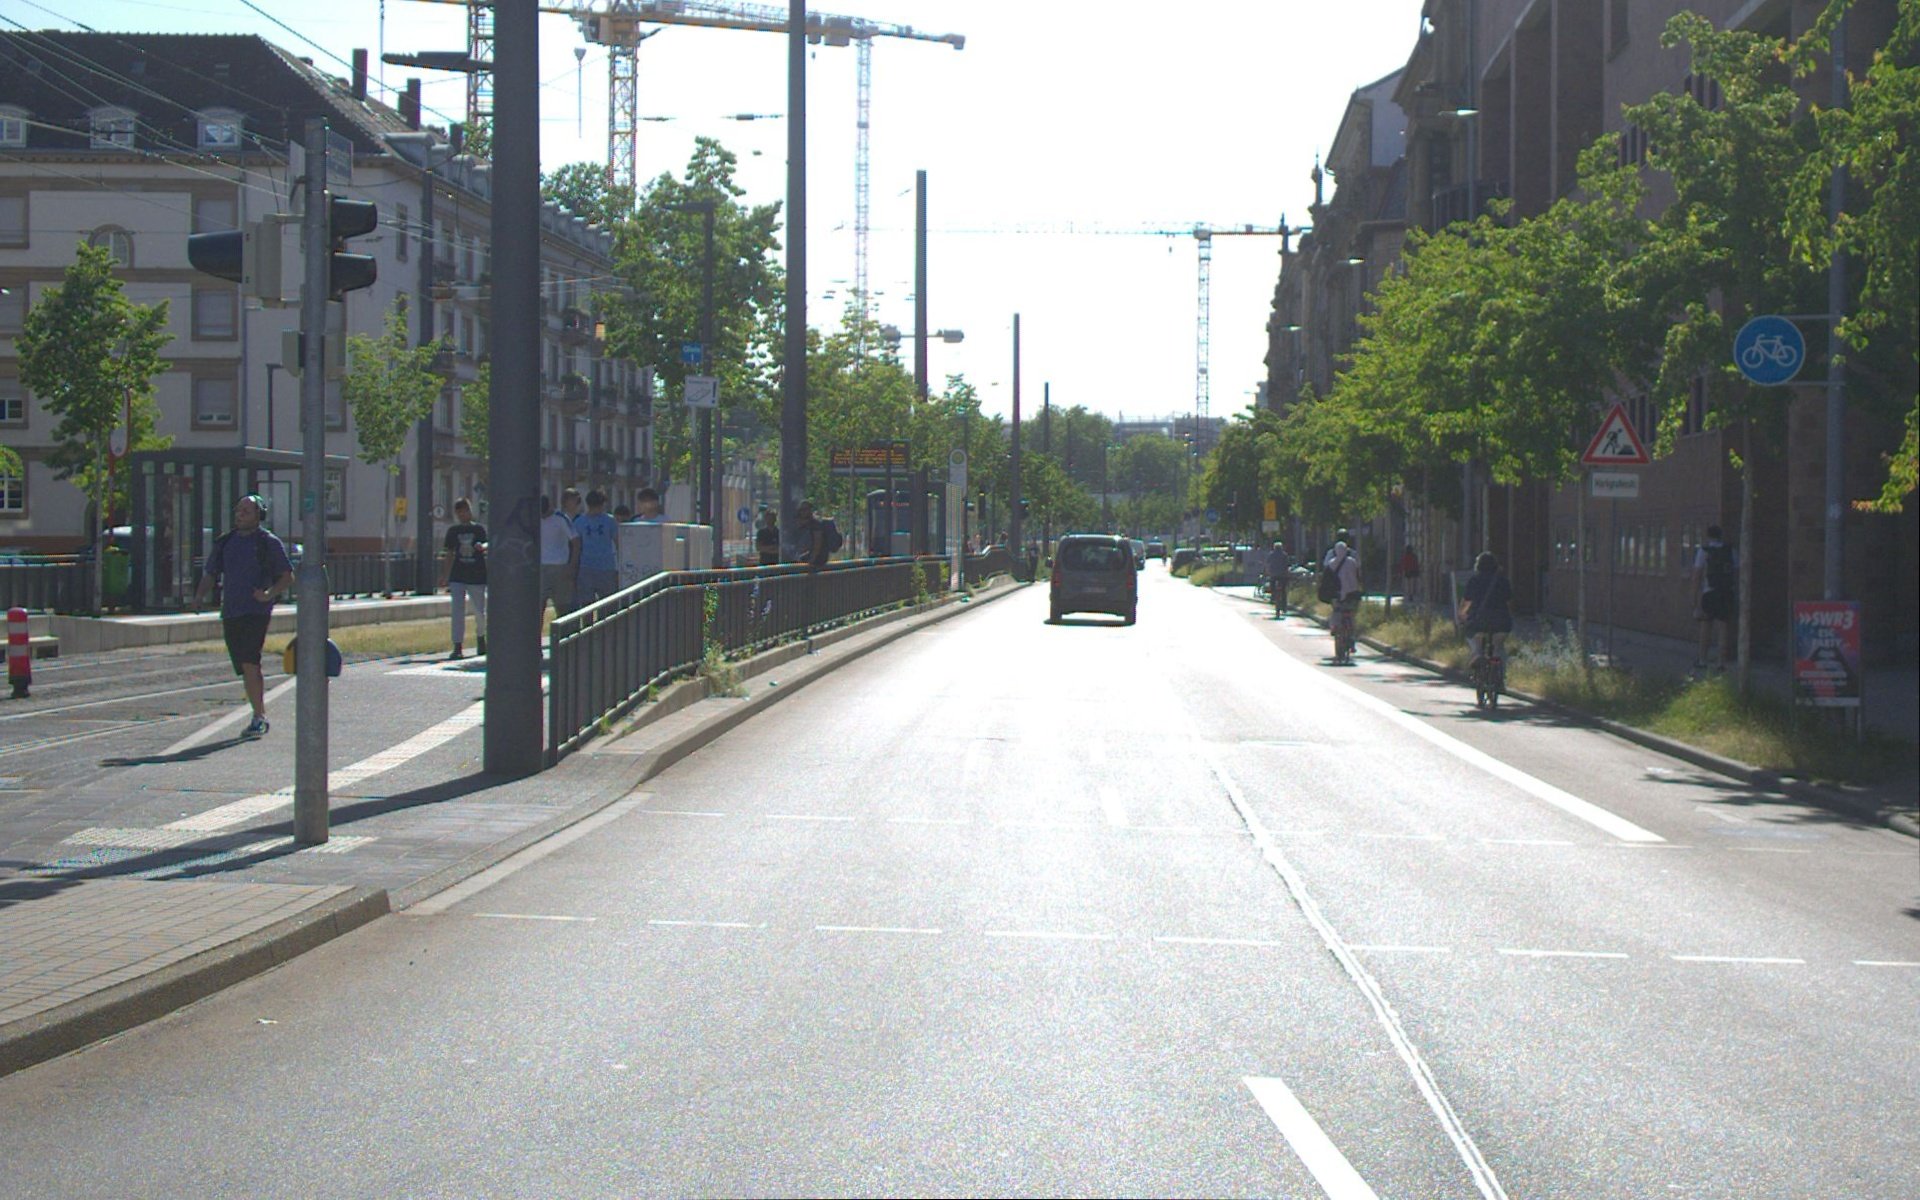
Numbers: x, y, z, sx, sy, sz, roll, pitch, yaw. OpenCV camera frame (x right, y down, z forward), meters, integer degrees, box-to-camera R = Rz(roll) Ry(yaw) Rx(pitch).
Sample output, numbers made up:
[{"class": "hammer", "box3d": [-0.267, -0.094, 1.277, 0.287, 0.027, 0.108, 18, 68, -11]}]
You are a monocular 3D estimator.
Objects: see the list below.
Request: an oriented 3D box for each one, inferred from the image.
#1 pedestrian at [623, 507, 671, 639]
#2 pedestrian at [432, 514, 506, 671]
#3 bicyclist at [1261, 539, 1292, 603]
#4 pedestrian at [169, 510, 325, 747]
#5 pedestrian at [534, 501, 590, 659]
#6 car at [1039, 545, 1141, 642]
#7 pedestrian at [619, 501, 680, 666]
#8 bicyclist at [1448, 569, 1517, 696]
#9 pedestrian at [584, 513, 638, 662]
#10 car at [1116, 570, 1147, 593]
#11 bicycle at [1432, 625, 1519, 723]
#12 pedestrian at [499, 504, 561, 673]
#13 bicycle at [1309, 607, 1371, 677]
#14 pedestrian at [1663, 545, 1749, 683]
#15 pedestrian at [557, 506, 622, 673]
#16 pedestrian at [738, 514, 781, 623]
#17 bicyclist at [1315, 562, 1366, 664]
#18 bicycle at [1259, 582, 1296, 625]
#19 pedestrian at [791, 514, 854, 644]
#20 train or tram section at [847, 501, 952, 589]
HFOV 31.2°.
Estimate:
[{"class": "pedestrian", "box3d": [-3.918, -0.340, 43.069, 0.538, 1.649, 0.633, 0, 1, 1]}, {"class": "pedestrian", "box3d": [-4.944, -0.077, 34.634, 0.600, 1.561, 0.914, 0, 1, 1]}, {"class": "bicyclist", "box3d": [7.661, -0.709, 83.133, 0.667, 1.521, 0.707, 1, 1, 1]}, {"class": "pedestrian", "box3d": [-5.163, 0.199, 24.915, 0.615, 1.663, 0.863, -2, 2, 30]}, {"class": "pedestrian", "box3d": [-4.483, -0.228, 38.733, 0.538, 1.767, 0.633, 0, 1, 1]}, {"class": "car", "box3d": [2.673, -0.161, 71.484, 1.993, 1.941, 4.000, 0, 1, 1]}, {"class": "pedestrian", "box3d": [-3.125, -0.168, 34.636, 0.538, 1.649, 0.706, 0, 1, 1]}, {"class": "bicyclist", "box3d": [5.605, 0.343, 36.914, 0.592, 1.331, 0.933, 1, 1, 1]}, {"class": "pedestrian", "box3d": [-3.667, -0.136, 36.137, 0.518, 1.546, 0.601, 0, 1, -2]}, {"class": "car", "box3d": [11.378, -1.230, 228.421, 1.994, 1.415, 4.000, 0, 1, 2]}, {"class": "bicycle", "box3d": [5.605, 0.786, 37.475, 0.603, 0.982, 2.315, 1, 1, 1]}, {"class": "pedestrian", "box3d": [-4.262, -0.116, 34.107, 0.510, 1.649, 0.761, 0, 1, 1]}, {"class": "bicycle", "box3d": [5.761, 0.627, 52.223, 0.667, 0.982, 2.586, 1, 1, 1]}, {"class": "pedestrian", "box3d": [9.429, 0.170, 43.468, 0.880, 1.711, 0.931, 0, 1, 1]}, {"class": "pedestrian", "box3d": [-3.694, -0.111, 34.331, 0.538, 1.649, 0.896, 0, 1, 1]}, {"class": "pedestrian", "box3d": [-3.069, -0.482, 52.648, 0.600, 1.649, 0.666, 0, 1, 1]}, {"class": "bicyclist", "box3d": [5.760, 0.186, 52.078, 0.667, 1.521, 0.707, 1, 1, 1]}, {"class": "bicycle", "box3d": [7.655, 0.071, 83.043, 0.667, 0.982, 2.586, 1, 1, 1]}, {"class": "pedestrian", "box3d": [-1.838, -0.278, 46.025, 0.716, 1.729, 0.602, 0, 1, -16]}, {"class": "train or tram section", "box3d": [-2.138, -2.057, 127.441, 2.327, 2.993, 13.158, 2, 1, 5]}]
